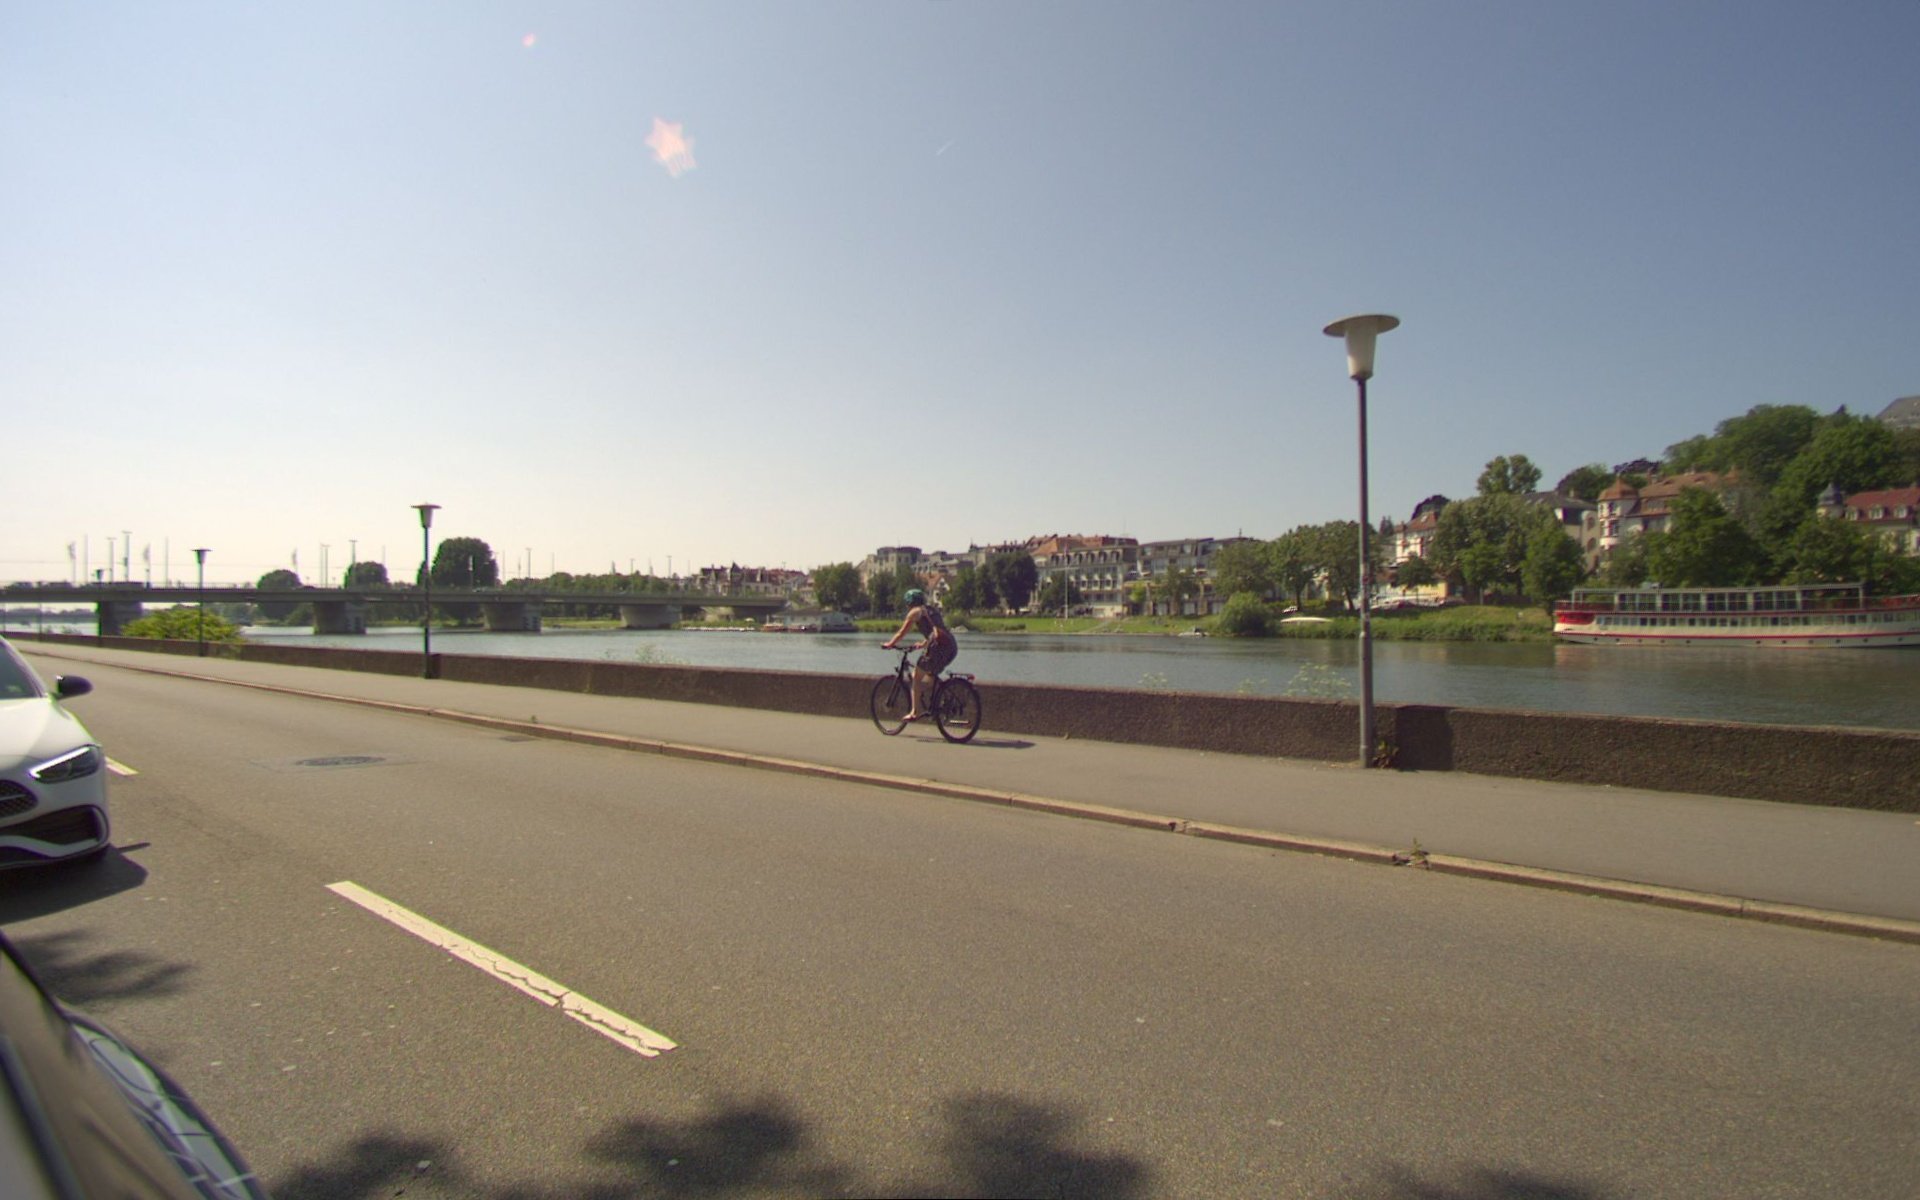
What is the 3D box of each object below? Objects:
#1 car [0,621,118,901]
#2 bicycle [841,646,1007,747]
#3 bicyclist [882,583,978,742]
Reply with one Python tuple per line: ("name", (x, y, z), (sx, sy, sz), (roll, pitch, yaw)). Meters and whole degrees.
("car", (-6.937, 0.887, 6.418), (4.551, 1.430, 1.806), (-2, -1, 42))
("bicycle", (-0.442, 1.045, 11.451), (1.984, 1.019, 0.626), (-1, -2, 41))
("bicyclist", (-0.337, 0.673, 11.296), (0.870, 1.686, 0.631), (-1, -2, 41))
